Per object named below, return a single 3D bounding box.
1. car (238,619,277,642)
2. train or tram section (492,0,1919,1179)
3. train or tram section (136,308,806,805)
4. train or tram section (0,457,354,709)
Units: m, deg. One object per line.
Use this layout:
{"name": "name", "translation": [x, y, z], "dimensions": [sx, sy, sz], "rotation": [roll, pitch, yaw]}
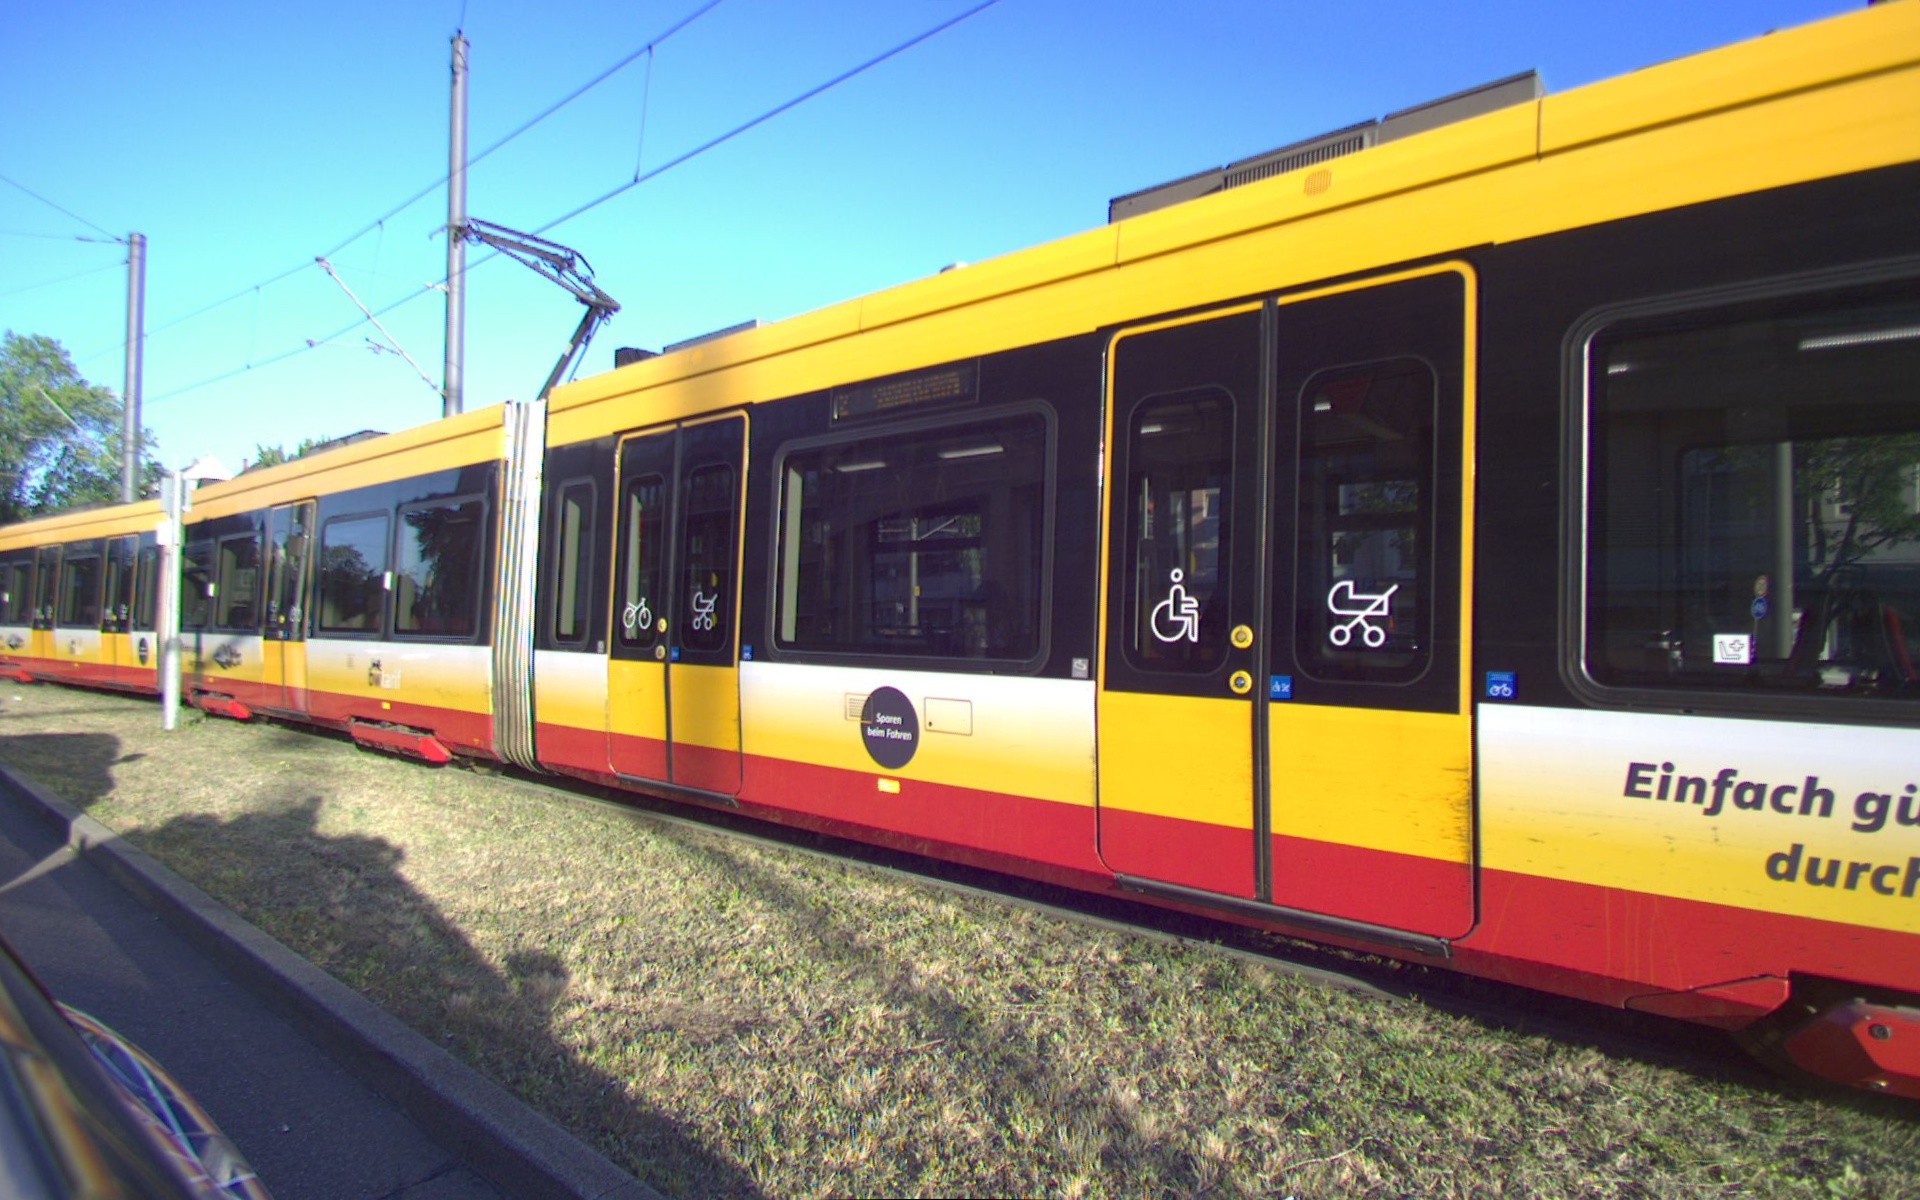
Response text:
{"name": "car", "translation": [-60.186, 2.594, 86.755], "dimensions": [1.965, 1.892, 3.917], "rotation": [1, -1, -23]}
{"name": "train or tram section", "translation": [2.372, -0.381, 4.564], "dimensions": [13.209, 3.767, 2.879], "rotation": [-1, -1, 41]}
{"name": "train or tram section", "translation": [-7.059, -0.276, 12.693], "dimensions": [12.174, 3.767, 2.848], "rotation": [-1, -1, 40]}
{"name": "train or tram section", "translation": [-16.257, -0.203, 19.850], "dimensions": [12.165, 3.767, 2.880], "rotation": [0, -1, 36]}
